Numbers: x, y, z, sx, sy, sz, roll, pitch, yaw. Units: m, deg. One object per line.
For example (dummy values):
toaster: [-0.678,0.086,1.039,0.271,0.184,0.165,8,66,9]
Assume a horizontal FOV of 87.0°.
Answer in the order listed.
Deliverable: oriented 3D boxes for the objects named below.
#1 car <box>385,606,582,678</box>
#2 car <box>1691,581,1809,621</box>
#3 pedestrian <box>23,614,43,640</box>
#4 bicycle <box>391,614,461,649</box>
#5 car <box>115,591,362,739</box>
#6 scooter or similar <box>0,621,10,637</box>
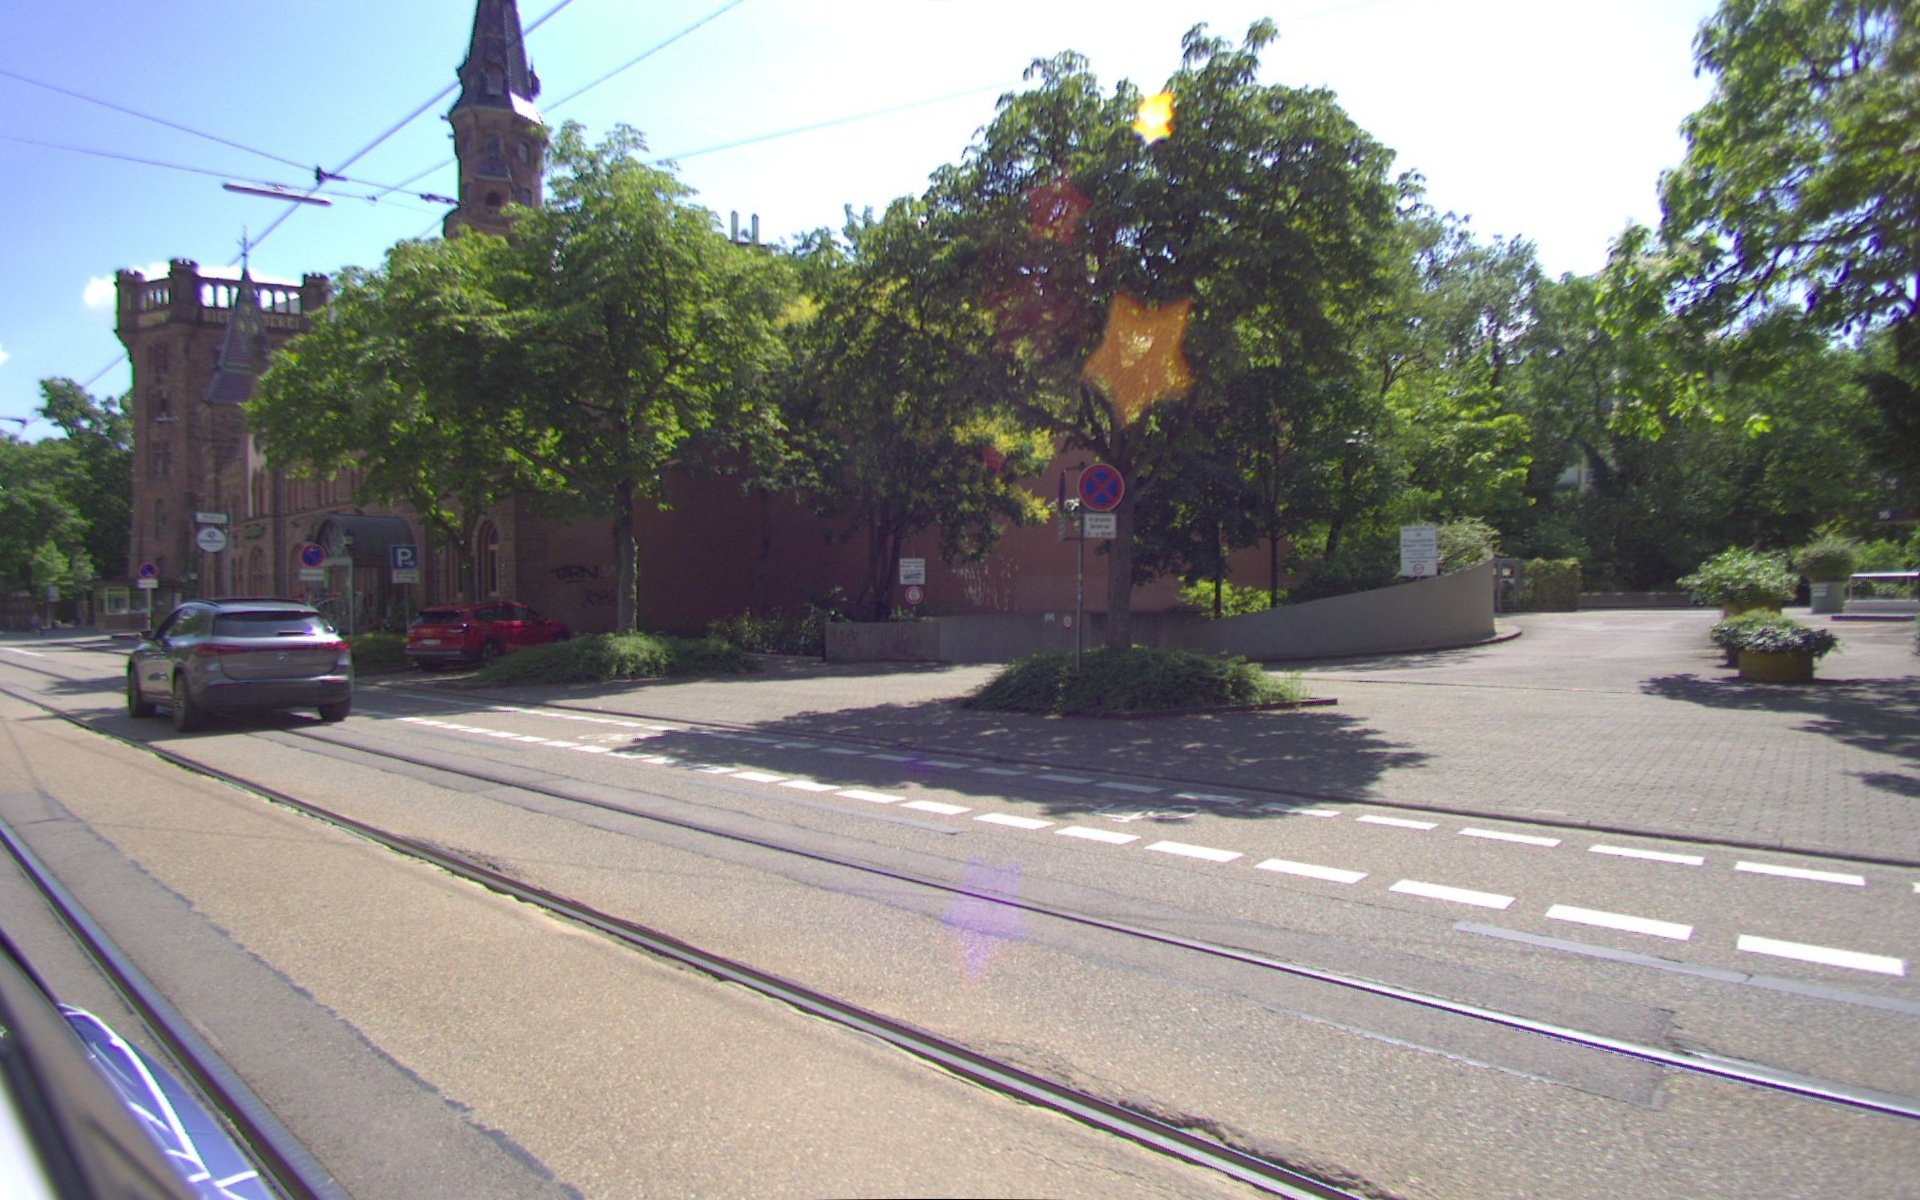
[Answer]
car: [-11.712,0.968,25.308,1.981,1.578,4.761,-1,0,12]
car: [37.590,0.052,48.232,1.966,1.796,4.011,-2,0,-33]
pedestrian: [-58.686,1.711,64.073,0.919,1.600,0.791,-1,2,41]
bicycle: [-16.985,1.000,32.246,0.594,0.897,1.986,-2,4,24]
car: [-9.832,0.783,13.678,4.182,1.693,1.812,-1,-1,41]
scooter or similar: [-69.753,2.121,73.567,0.343,1.135,1.227,-2,2,-6]
